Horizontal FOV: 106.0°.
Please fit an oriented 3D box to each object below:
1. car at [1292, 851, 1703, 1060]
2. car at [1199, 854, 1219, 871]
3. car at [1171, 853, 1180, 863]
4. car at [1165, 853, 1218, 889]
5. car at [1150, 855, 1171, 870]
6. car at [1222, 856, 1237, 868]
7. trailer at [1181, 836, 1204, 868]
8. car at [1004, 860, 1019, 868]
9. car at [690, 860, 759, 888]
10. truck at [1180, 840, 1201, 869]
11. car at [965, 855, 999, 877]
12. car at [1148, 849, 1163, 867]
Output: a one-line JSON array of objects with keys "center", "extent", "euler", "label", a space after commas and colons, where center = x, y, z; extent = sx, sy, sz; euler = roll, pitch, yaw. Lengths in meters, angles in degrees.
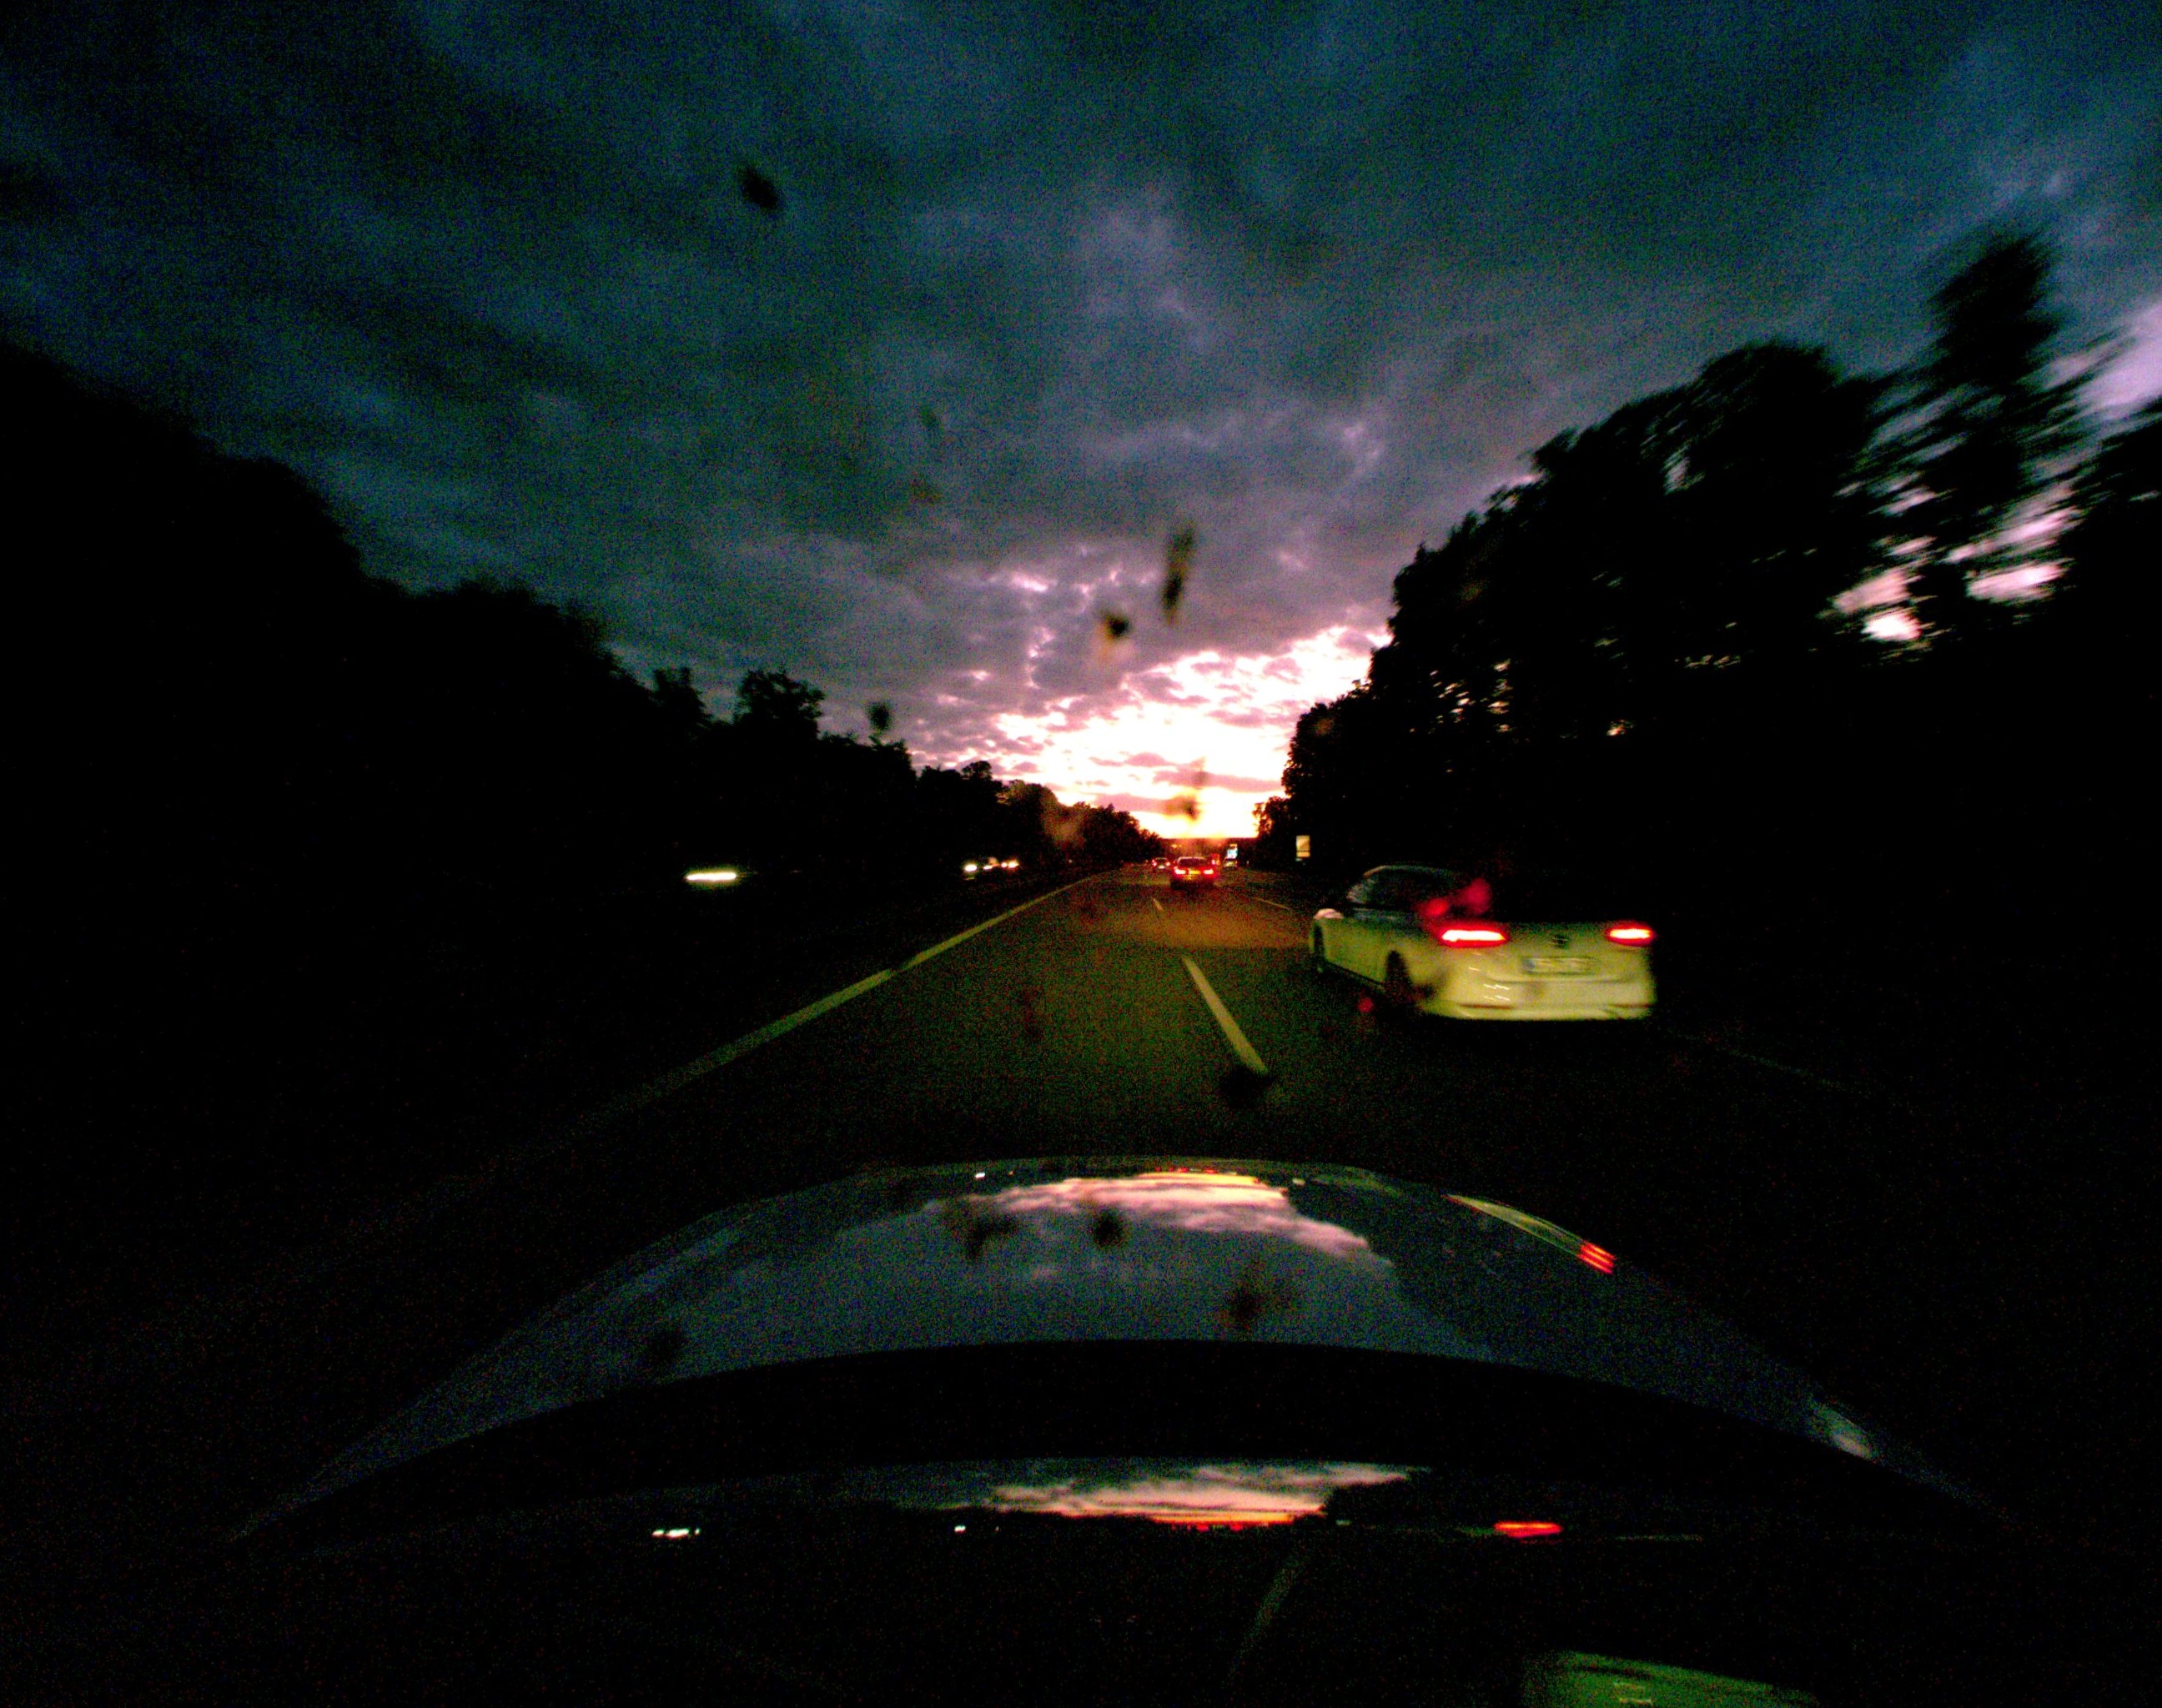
[{"center": [3.646, 0.722, 8.410], "extent": [1.802, 1.466, 5.135], "euler": [-1, 0, 2], "label": "car"}, {"center": [12.794, 0.879, 81.629], "extent": [1.892, 1.643, 5.063], "euler": [-1, -1, 8], "label": "car"}, {"center": [24.779, 1.036, 214.312], "extent": [2.153, 2.419, 5.575], "euler": [-1, -2, 8], "label": "car"}, {"center": [5.173, 0.758, 38.628], "extent": [1.902, 1.537, 5.233], "euler": [-1, 0, 1], "label": "car"}, {"center": [8.196, 0.856, 84.256], "extent": [1.853, 1.442, 3.719], "euler": [-1, 0, 0], "label": "car"}, {"center": [18.756, 0.988, 102.951], "extent": [1.848, 1.442, 4.122], "euler": [-1, -2, 10], "label": "car"}, {"center": [15.409, -0.187, 112.943], "extent": [2.892, 4.101, 10.374], "euler": [0, -2, 6], "label": "trailer"}, {"center": [-11.967, 1.735, 140.529], "extent": [1.806, 1.381, 4.914], "euler": [0, 0, 5], "label": "car"}, {"center": [-21.167, 1.145, 48.588], "extent": [1.842, 1.497, 4.599], "euler": [-1, 0, 4], "label": "car"}, {"center": [16.586, 0.161, 123.444], "extent": [2.870, 4.101, 10.849], "euler": [0, -2, 6], "label": "truck"}, {"center": [-8.278, 0.982, 68.540], "extent": [1.985, 1.705, 4.554], "euler": [-1, 0, 3], "label": "car"}, {"center": [11.097, 0.602, 120.869], "extent": [2.154, 2.419, 5.573], "euler": [-1, -2, 7], "label": "car"}]
